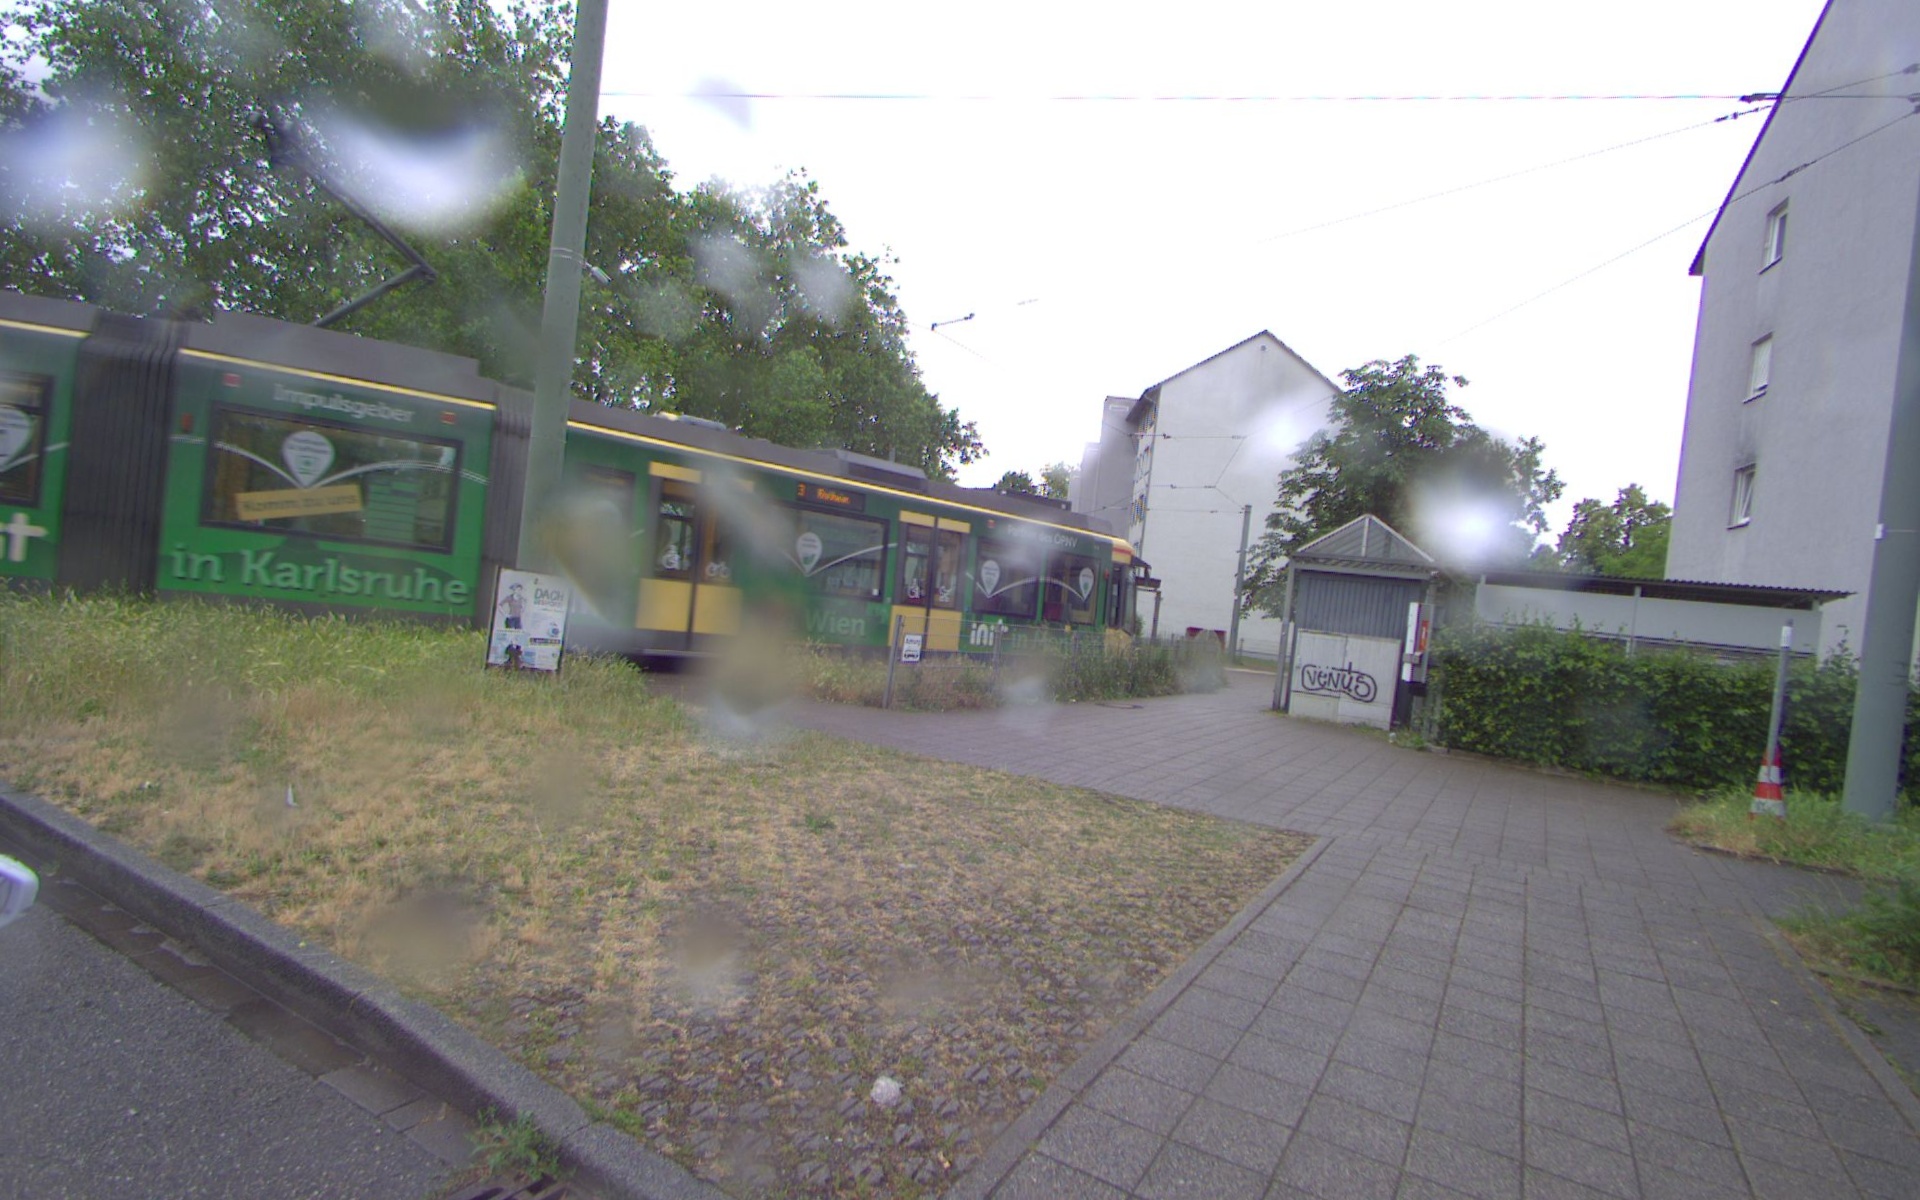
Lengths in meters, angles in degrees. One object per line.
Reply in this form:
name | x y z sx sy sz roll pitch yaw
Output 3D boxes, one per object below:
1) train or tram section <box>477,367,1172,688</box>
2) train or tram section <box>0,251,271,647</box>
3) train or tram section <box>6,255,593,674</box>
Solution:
train or tram section | -1.229 -0.586 17.053 12.119 3.598 2.736 6 1 -43
train or tram section | -14.563 -2.099 9.457 12.924 3.597 2.761 7 0 -14
train or tram section | -7.281 -1.241 11.829 4.932 3.597 2.749 6 0 -29
